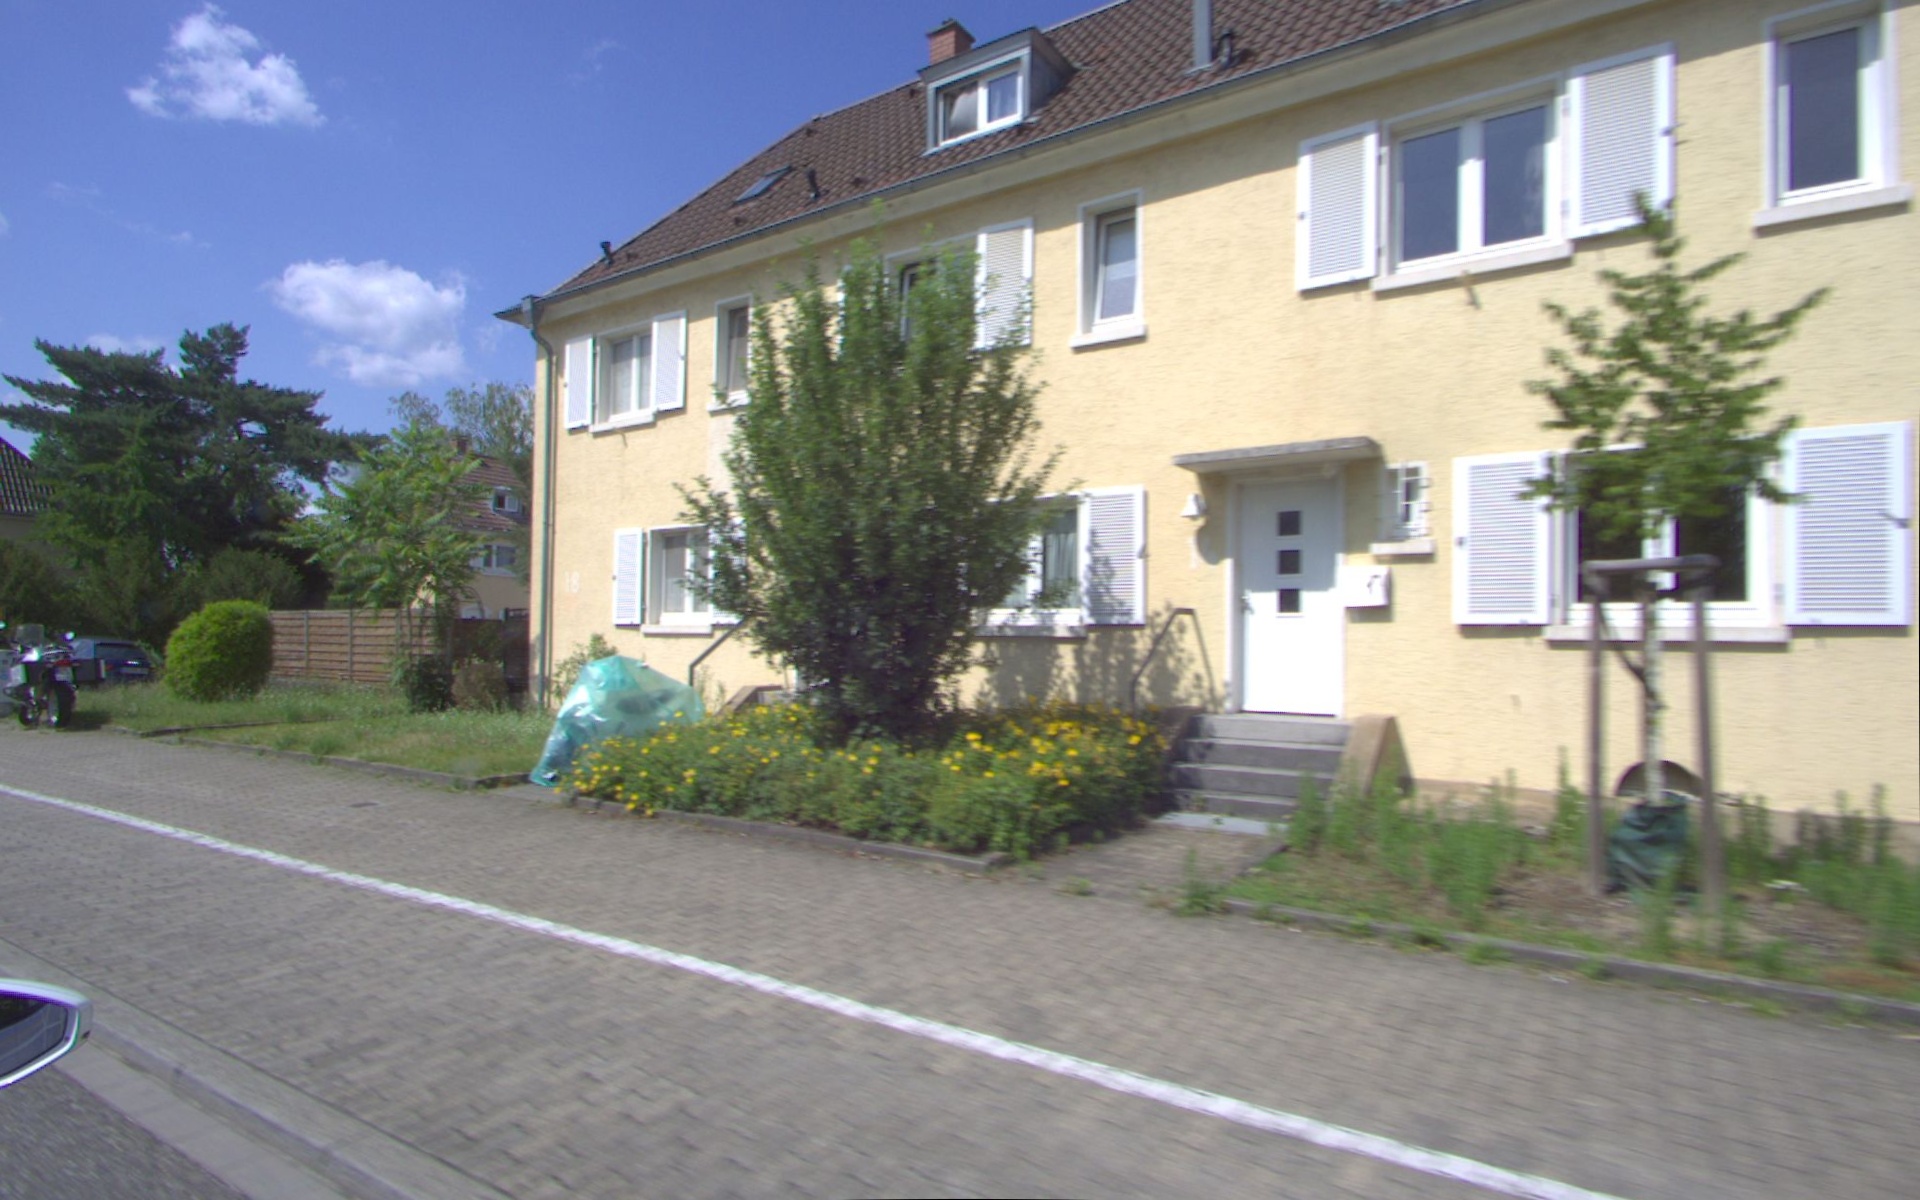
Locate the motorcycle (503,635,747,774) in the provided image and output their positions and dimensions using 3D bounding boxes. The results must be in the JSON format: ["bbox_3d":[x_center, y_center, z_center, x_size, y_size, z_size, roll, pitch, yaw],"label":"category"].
[{"bbox_3d":[-3.250,0.972,9.960,0.843,1.212,2.222,0,-2,35],"label":"motorcycle"}]

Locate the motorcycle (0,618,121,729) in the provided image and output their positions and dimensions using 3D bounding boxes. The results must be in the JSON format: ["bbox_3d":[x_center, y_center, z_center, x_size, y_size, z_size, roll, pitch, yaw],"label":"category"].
[{"bbox_3d":[-13.475,1.021,14.704,2.548,1.490,1.044,-1,1,33],"label":"motorcycle"}]

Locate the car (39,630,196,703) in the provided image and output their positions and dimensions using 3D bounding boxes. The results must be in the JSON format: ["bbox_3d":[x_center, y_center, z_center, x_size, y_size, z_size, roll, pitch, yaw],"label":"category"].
[{"bbox_3d":[-19.474,1.495,23.090,4.227,1.398,1.637,1,-2,34],"label":"car"}]
